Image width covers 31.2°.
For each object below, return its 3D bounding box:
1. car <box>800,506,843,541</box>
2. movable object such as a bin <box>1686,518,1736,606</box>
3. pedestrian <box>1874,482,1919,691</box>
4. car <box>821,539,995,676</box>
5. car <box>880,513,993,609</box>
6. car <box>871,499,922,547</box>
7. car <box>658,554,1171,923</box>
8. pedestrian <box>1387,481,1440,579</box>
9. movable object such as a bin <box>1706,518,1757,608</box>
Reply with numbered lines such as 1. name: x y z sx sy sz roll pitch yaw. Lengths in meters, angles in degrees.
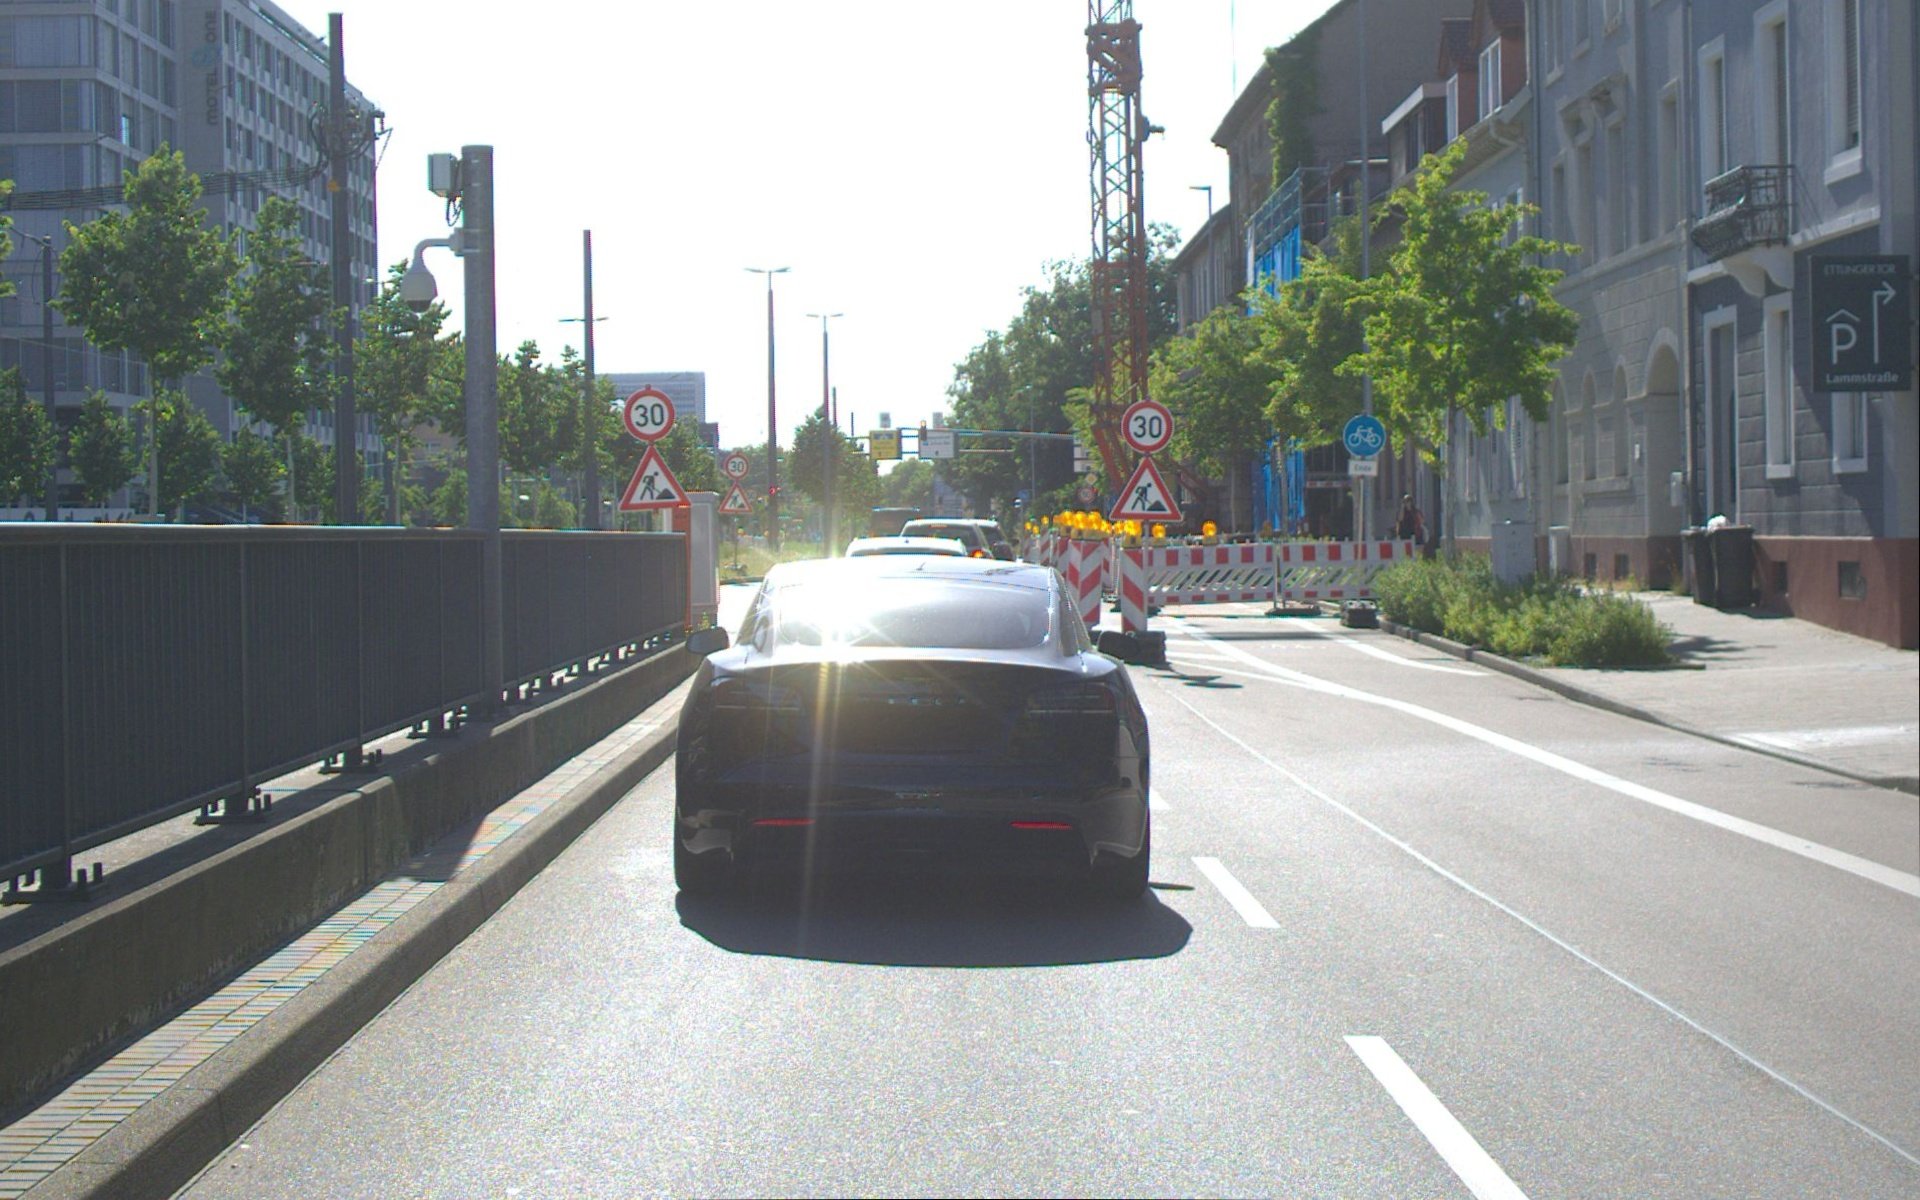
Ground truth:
1. car: -6.808 -3.753 169.292 1.993 1.678 4.000 1 1 -1
2. movable object such as a bin: 10.045 -0.505 45.981 0.559 1.165 0.562 1 1 4
3. pedestrian: 9.058 -0.139 31.136 1.095 1.857 1.523 -1 1 -1
4. car: -0.500 0.041 36.470 1.716 1.315 4.000 0 2 1
5. car: -0.365 -0.691 58.175 1.784 1.540 4.039 0 2 1
6. car: -2.437 -2.994 132.955 1.814 1.803 4.039 0 2 1
7. car: -0.215 0.509 15.626 1.999 1.429 4.413 0 1 -1
8. pedestrian: 8.796 -1.360 66.668 0.851 1.857 0.930 -1 1 -1
9. movable object such as a bin: 10.129 -0.490 45.132 0.559 1.165 0.562 1 1 4
